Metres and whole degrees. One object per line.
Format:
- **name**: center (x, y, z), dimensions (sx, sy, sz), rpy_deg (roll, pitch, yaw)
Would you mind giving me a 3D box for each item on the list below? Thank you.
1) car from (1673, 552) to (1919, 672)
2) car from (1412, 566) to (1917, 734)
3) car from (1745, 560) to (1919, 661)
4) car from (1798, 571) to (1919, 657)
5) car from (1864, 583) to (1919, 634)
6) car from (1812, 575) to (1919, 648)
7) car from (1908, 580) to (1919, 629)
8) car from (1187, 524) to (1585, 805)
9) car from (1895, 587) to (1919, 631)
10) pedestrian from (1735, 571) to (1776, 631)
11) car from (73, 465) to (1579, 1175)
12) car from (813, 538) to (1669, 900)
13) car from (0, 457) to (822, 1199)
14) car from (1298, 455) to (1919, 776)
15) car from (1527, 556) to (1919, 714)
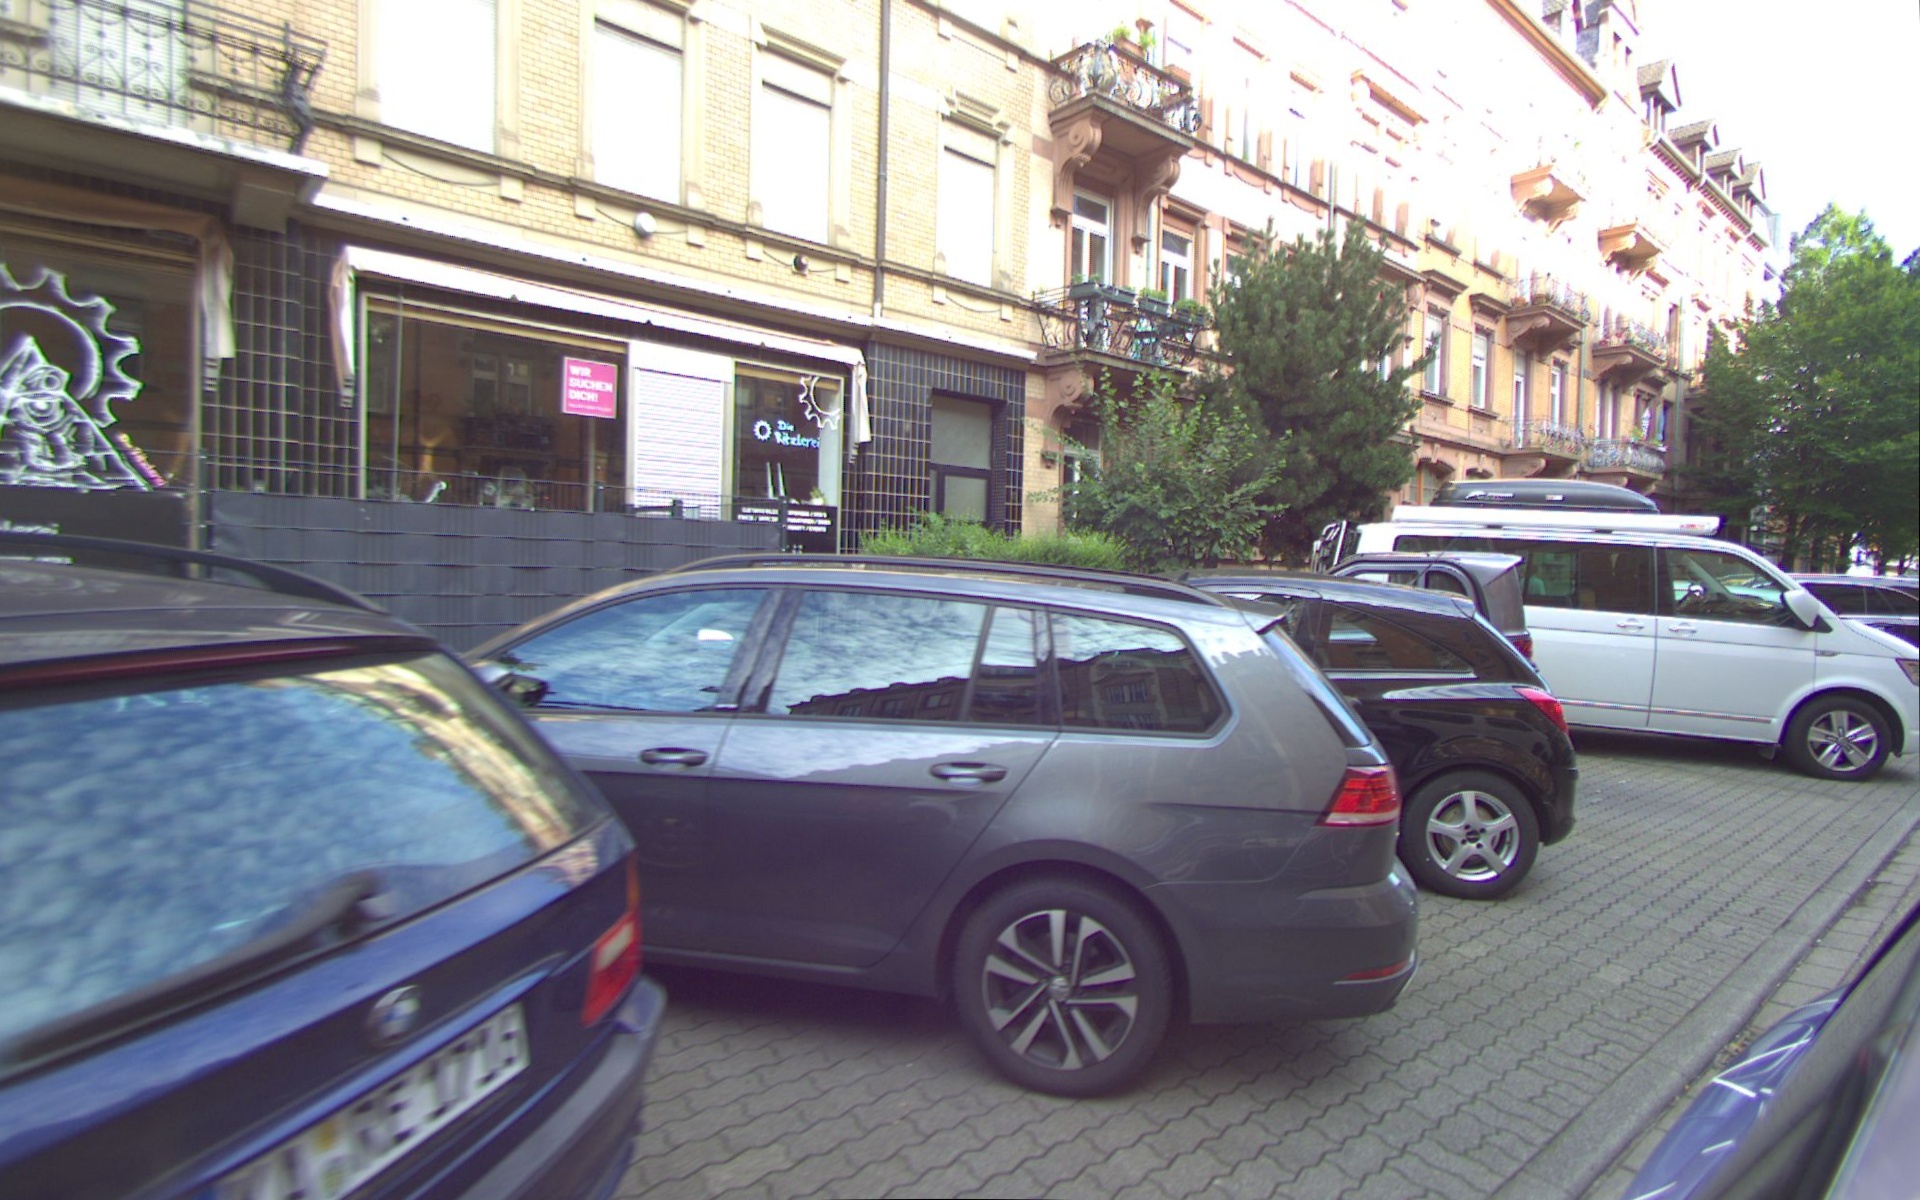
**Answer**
- **car**: center (15.811, 0.217, 18.058), dimensions (1.778, 1.806, 4.648), rpy_deg (3, 3, -41)
- **car**: center (7.484, 0.464, 11.275), dimensions (4.177, 1.569, 1.864), rpy_deg (1, 0, 16)
- **car**: center (19.034, 0.230, 20.597), dimensions (4.348, 1.844, 1.745), rpy_deg (4, 3, 19)
- **car**: center (21.174, 0.328, 22.085), dimensions (3.950, 1.762, 1.828), rpy_deg (3, 2, 20)
- **car**: center (30.952, 0.361, 30.901), dimensions (4.553, 1.469, 1.783), rpy_deg (4, 3, 19)
- **car**: center (23.006, 0.328, 23.844), dimensions (3.941, 1.567, 1.862), rpy_deg (4, 3, 13)
- **car**: center (35.683, 0.252, 34.858), dimensions (3.944, 1.720, 1.844), rpy_deg (2, 1, 16)
- **car**: center (3.147, 0.377, 7.715), dimensions (2.443, 1.686, 1.336), rpy_deg (6, 2, 24)
- **car**: center (33.533, 0.380, 32.942), dimensions (4.079, 1.435, 1.860), rpy_deg (2, 1, 15)
- **pedestrian**: center (22.828, 0.008, 29.042), dimensions (0.819, 1.653, 0.732), rpy_deg (-1, 4, -42)
- **car**: center (-0.550, 0.455, 3.803), dimensions (4.399, 1.495, 1.884), rpy_deg (5, 2, 11)
- **car**: center (1.337, 0.490, 5.738), dimensions (3.929, 1.477, 1.747), rpy_deg (3, 2, 9)
- **car**: center (-2.696, 0.466, 1.923), dimensions (4.407, 1.482, 1.870), rpy_deg (4, 2, 16)
- **car**: center (5.846, 0.013, 9.217), dimensions (5.091, 2.434, 1.908), rpy_deg (3, 2, 18)
- **car**: center (9.953, 0.378, 12.854), dimensions (4.395, 1.754, 1.990), rpy_deg (1, 1, 16)
